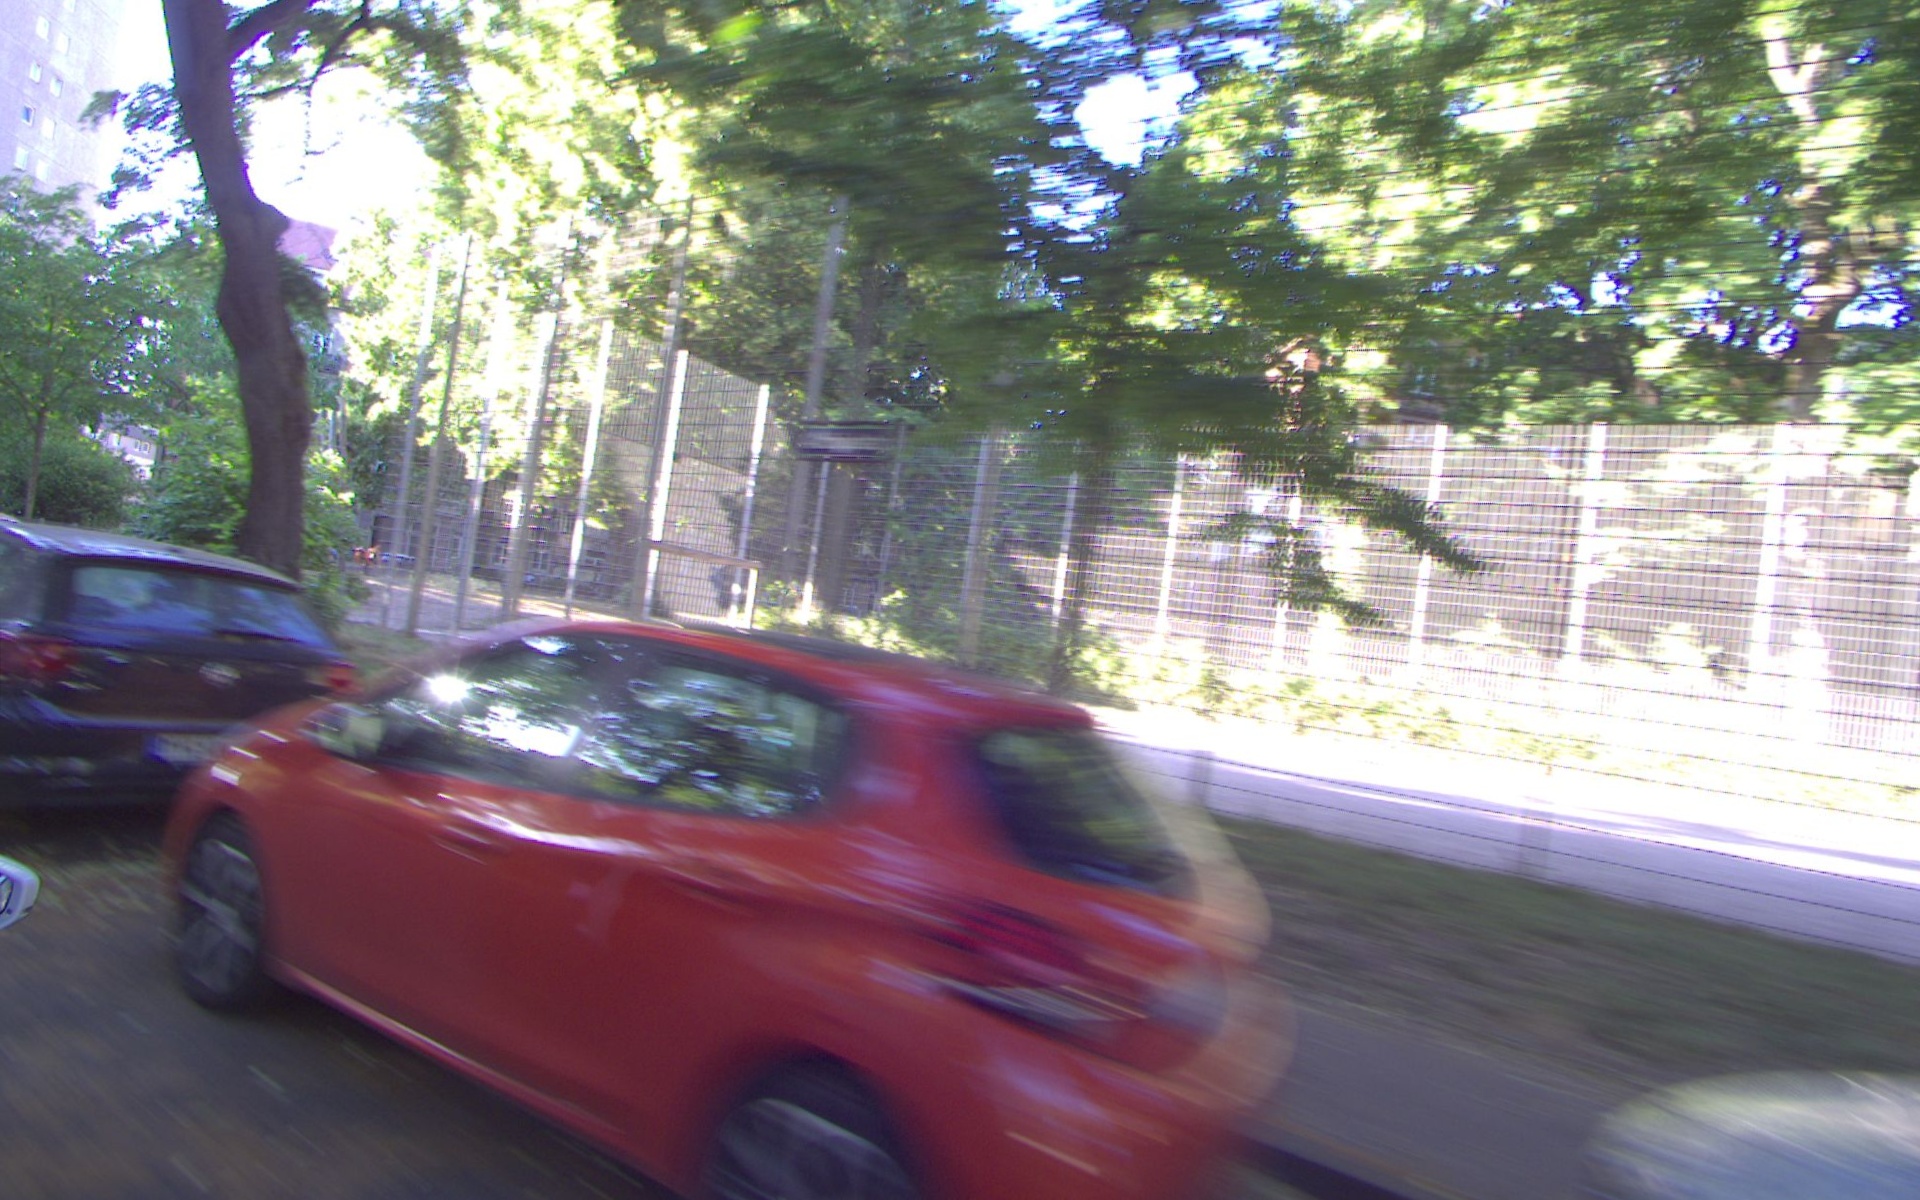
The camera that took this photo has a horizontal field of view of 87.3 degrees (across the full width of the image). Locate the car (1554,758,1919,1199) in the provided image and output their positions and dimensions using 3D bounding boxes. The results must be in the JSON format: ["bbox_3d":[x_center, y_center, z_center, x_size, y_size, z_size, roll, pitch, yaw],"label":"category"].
[{"bbox_3d":[3.015,1.236,0.894,4.228,1.413,1.676,6,-2,33],"label":"car"}]

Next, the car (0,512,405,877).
[{"bbox_3d":[-5.139,0.286,5.688,3.883,1.470,1.676,7,-2,32],"label":"car"}]

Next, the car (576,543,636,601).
[{"bbox_3d":[-17.967,-1.349,51.295,2.337,2.484,5.493,8,-2,-17],"label":"car"}]

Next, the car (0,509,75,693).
[{"bbox_3d":[-9.423,-0.202,8.723,3.497,1.470,1.594,6,-2,33],"label":"car"}]

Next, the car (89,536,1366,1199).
[{"bbox_3d":[-0.943,0.778,3.298,3.883,1.470,1.676,7,-2,32],"label":"car"}]
